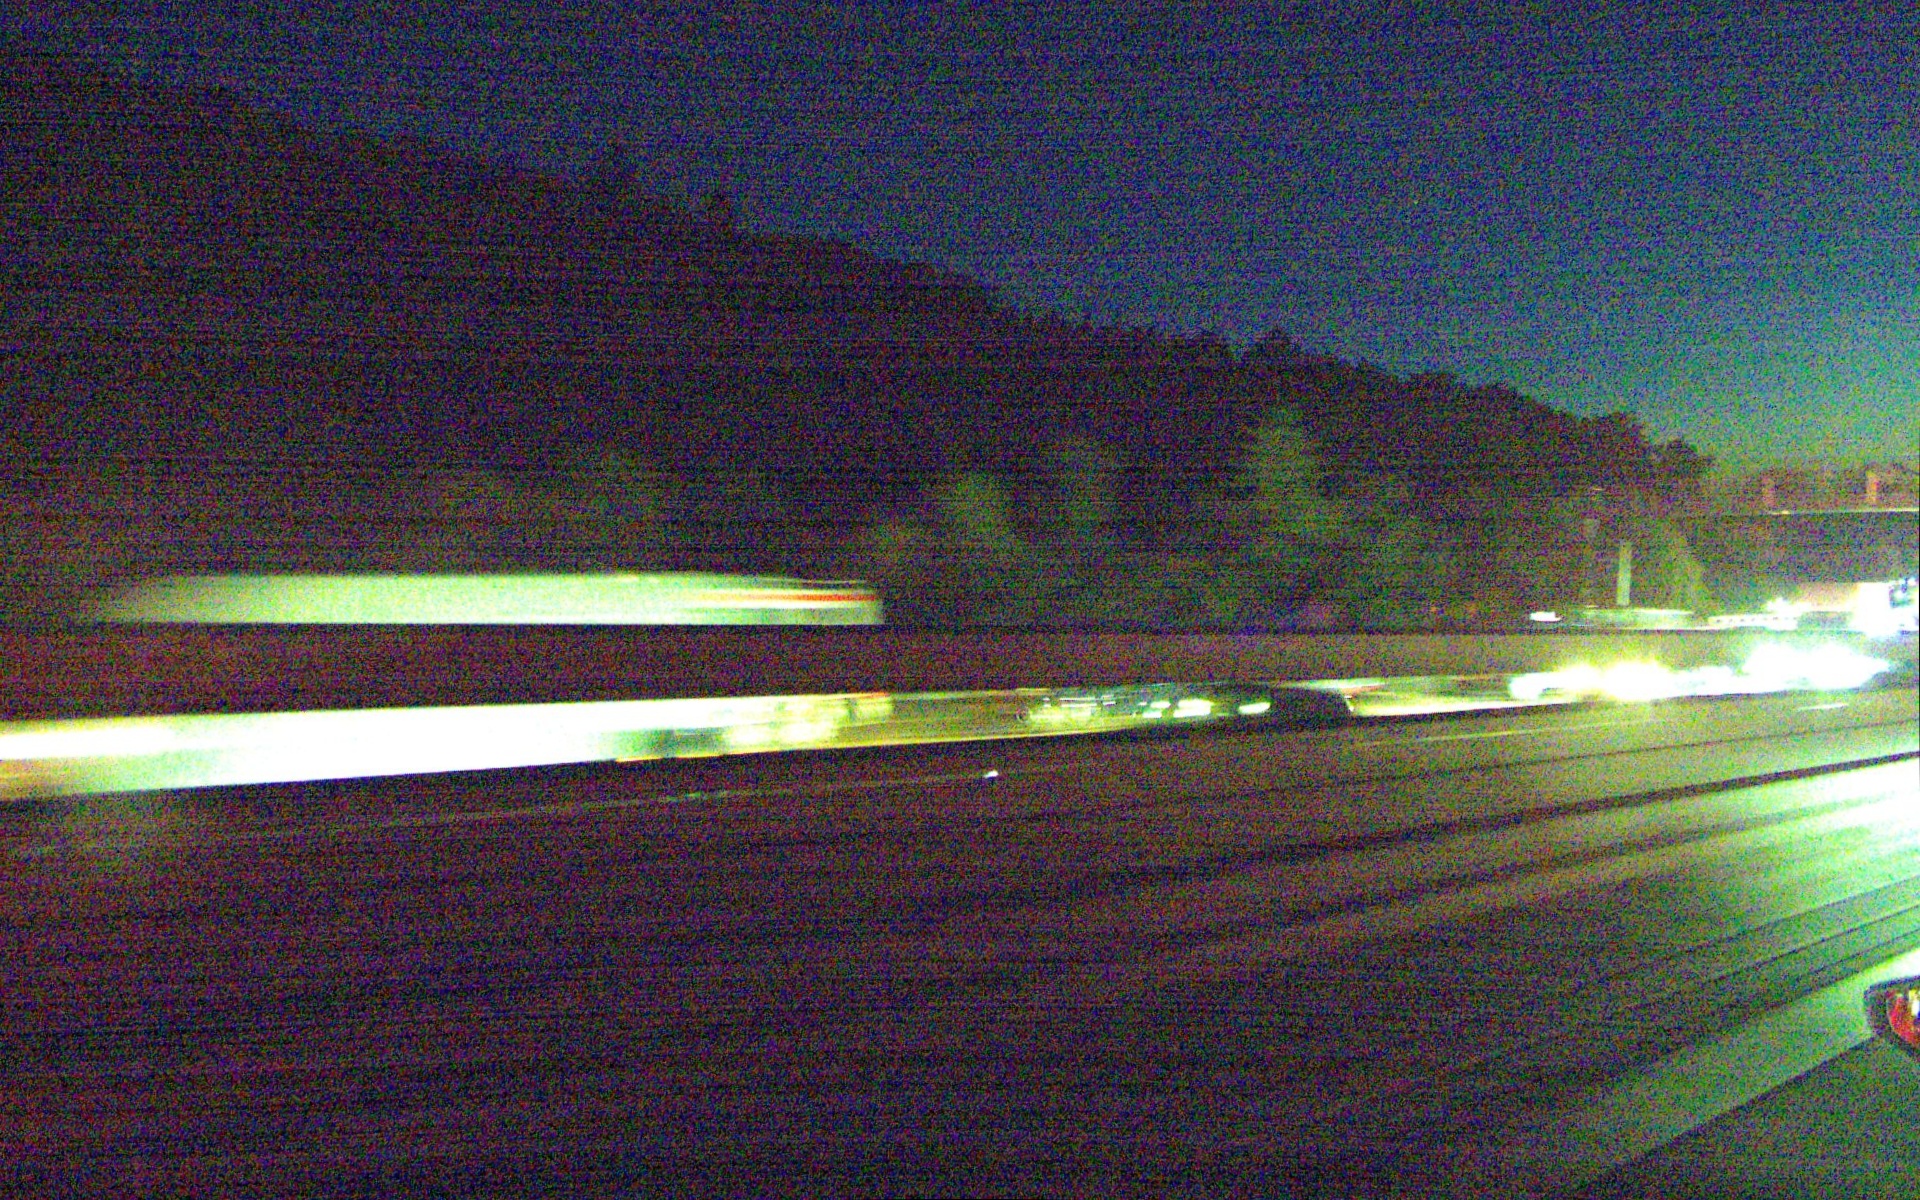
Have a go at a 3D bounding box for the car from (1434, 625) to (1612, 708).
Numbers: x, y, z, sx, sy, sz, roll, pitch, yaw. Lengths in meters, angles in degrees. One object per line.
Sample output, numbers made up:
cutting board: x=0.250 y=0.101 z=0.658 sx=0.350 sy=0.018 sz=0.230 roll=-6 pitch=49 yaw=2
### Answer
car: x=14.662 y=1.661 z=26.086 sx=4.933 sy=1.985 sz=1.982 roll=1 pitch=-2 yaw=-33

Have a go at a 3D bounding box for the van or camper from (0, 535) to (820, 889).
van or camper: x=-4.911 y=0.922 z=10.133 sx=6.610 sy=2.629 sz=2.244 roll=1 pitch=-2 yaw=-31

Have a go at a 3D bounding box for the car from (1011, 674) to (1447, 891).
car: x=2.901 y=1.665 z=10.385 sx=4.665 sy=1.565 sz=1.743 roll=0 pitch=-1 yaw=-34

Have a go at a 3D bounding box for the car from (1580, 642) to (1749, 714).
car: x=16.048 y=1.718 z=22.849 sx=4.026 sy=1.499 sz=1.599 roll=1 pitch=-2 yaw=-30

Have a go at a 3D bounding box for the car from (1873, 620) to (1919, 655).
car: x=43.787 y=1.695 z=46.410 sx=4.397 sy=1.560 sz=1.629 roll=1 pitch=-1 yaw=-37

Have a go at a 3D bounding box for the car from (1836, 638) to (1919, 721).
car: x=18.708 y=1.469 z=19.284 sx=4.586 sy=1.372 sz=1.743 roll=0 pitch=-1 yaw=-34

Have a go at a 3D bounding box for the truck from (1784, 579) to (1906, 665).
truck: x=36.962 y=0.948 z=41.856 sx=7.652 sy=3.303 sz=2.358 roll=2 pitch=-2 yaw=-37

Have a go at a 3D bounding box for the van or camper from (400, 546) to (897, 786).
van or camper: x=-4.313 y=0.870 z=14.484 sx=6.417 sy=2.797 sz=2.432 roll=2 pitch=-1 yaw=-32

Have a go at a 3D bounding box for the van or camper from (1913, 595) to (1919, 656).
van or camper: x=51.298 y=1.269 z=51.521 sx=7.053 sy=3.043 sz=2.207 roll=0 pitch=0 yaw=-36

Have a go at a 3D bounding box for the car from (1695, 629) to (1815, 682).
car: x=27.467 y=1.875 z=34.681 sx=4.343 sy=1.722 sz=1.852 roll=1 pitch=-2 yaw=-31

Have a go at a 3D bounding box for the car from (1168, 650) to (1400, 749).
car: x=5.519 y=1.610 z=17.025 sx=3.799 sy=1.471 sz=1.739 roll=2 pitch=-3 yaw=-32

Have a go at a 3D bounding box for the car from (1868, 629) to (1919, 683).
car: x=31.947 y=1.817 z=33.160 sx=4.409 sy=1.682 sz=1.981 roll=1 pitch=-1 yaw=-35

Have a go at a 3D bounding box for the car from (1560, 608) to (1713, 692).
car: x=19.858 y=1.411 z=29.443 sx=4.515 sy=2.297 sz=2.119 roll=1 pitch=-2 yaw=-33

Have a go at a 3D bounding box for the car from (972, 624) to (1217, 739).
car: x=2.610 y=1.489 z=19.103 sx=4.514 sy=1.948 sz=1.829 roll=2 pitch=-3 yaw=-32

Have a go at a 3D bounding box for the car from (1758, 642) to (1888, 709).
car: x=24.848 y=2.110 z=28.898 sx=3.955 sy=1.766 sz=1.729 roll=1 pitch=-2 yaw=-32
